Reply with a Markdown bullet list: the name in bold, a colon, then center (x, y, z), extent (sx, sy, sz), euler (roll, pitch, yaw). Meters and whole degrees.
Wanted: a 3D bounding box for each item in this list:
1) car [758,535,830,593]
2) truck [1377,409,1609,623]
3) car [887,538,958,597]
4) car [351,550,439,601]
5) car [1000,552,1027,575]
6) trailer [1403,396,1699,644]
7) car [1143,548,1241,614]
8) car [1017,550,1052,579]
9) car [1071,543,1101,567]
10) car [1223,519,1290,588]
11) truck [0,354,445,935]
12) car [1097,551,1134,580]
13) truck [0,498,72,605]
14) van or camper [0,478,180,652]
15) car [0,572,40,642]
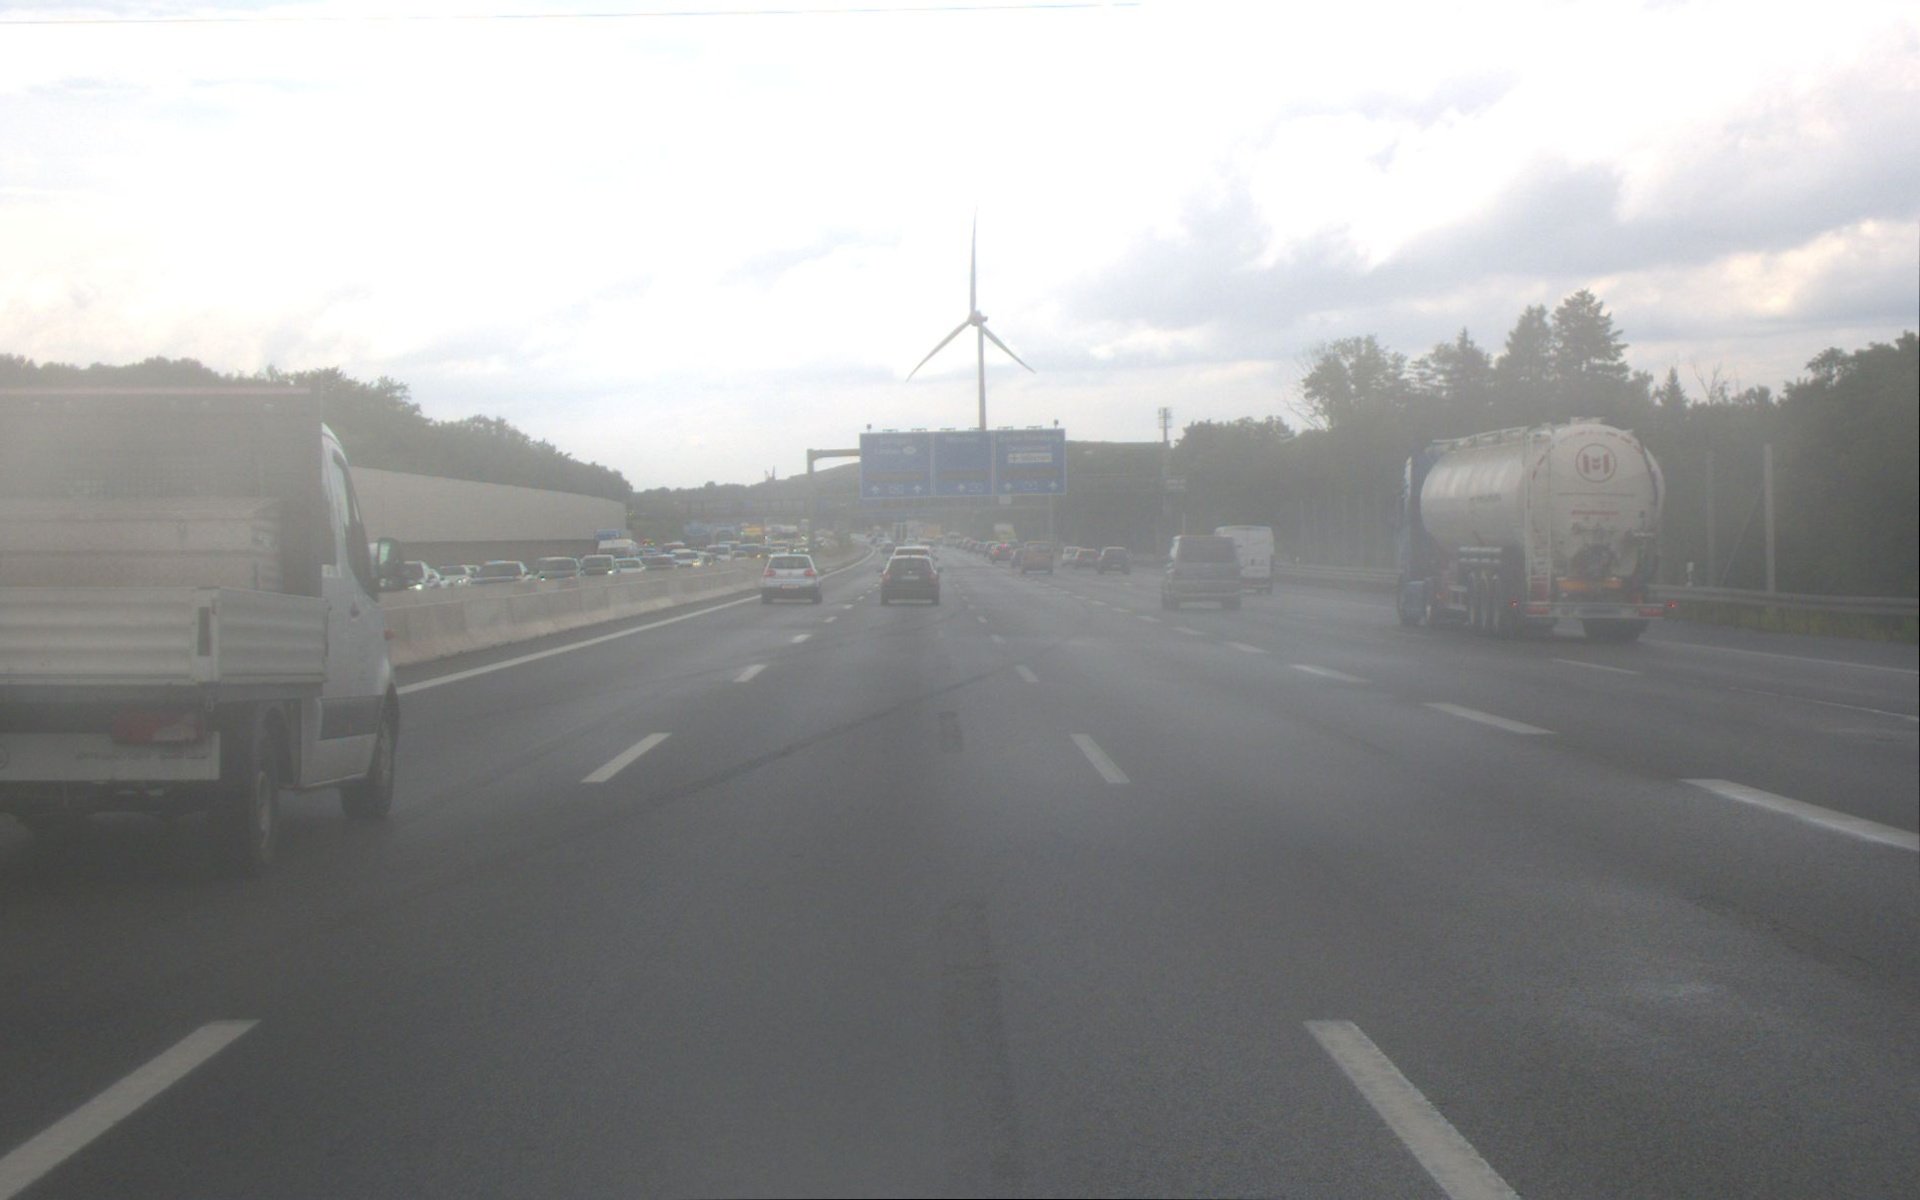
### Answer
- **car**: center (-4.998, -1.109, 103.838), extent (2.045, 1.693, 4.000), euler (0, 1, -1)
- **truck**: center (10.691, -1.687, 69.905), extent (3.333, 4.066, 8.272), euler (0, 1, 0)
- **car**: center (-1.126, -0.986, 101.989), extent (2.045, 1.693, 4.000), euler (0, 1, -1)
- **car**: center (-15.297, -0.676, 93.222), extent (1.689, 1.330, 4.372), euler (0, 1, 0)
- **car**: center (3.897, -2.681, 251.952), extent (1.868, 1.722, 4.000), euler (0, 1, -1)
- **trailer**: center (10.750, -1.464, 64.015), extent (3.332, 4.161, 11.839), euler (0, 1, 0)
- **car**: center (6.174, -0.536, 91.957), extent (2.097, 1.693, 4.001), euler (0, 1, -4)
- **car**: center (4.561, -2.165, 210.279), extent (2.045, 1.693, 4.000), euler (0, 1, 0)
- **car**: center (8.981, -3.228, 244.835), extent (2.045, 1.693, 4.000), euler (0, 1, 0)
- **car**: center (10.848, -1.724, 125.930), extent (2.045, 2.489, 4.000), euler (0, 1, -1)
- **truck**: center (-4.366, 0.091, 17.900), extent (2.353, 2.400, 7.359), euler (1, 1, -1)
- **car**: center (9.432, -2.094, 208.866), extent (1.993, 1.744, 4.497), euler (0, 1, -1)
- **truck**: center (-33.149, -1.668, 118.568), extent (3.138, 3.569, 7.666), euler (0, 1, 0)
- **van or camper**: center (-14.835, -0.589, 56.941), extent (2.178, 2.695, 7.521), euler (0, 1, 0)
- **car**: center (-22.567, 0.154, 78.082), extent (1.913, 1.539, 5.504), euler (0, 1, 0)
